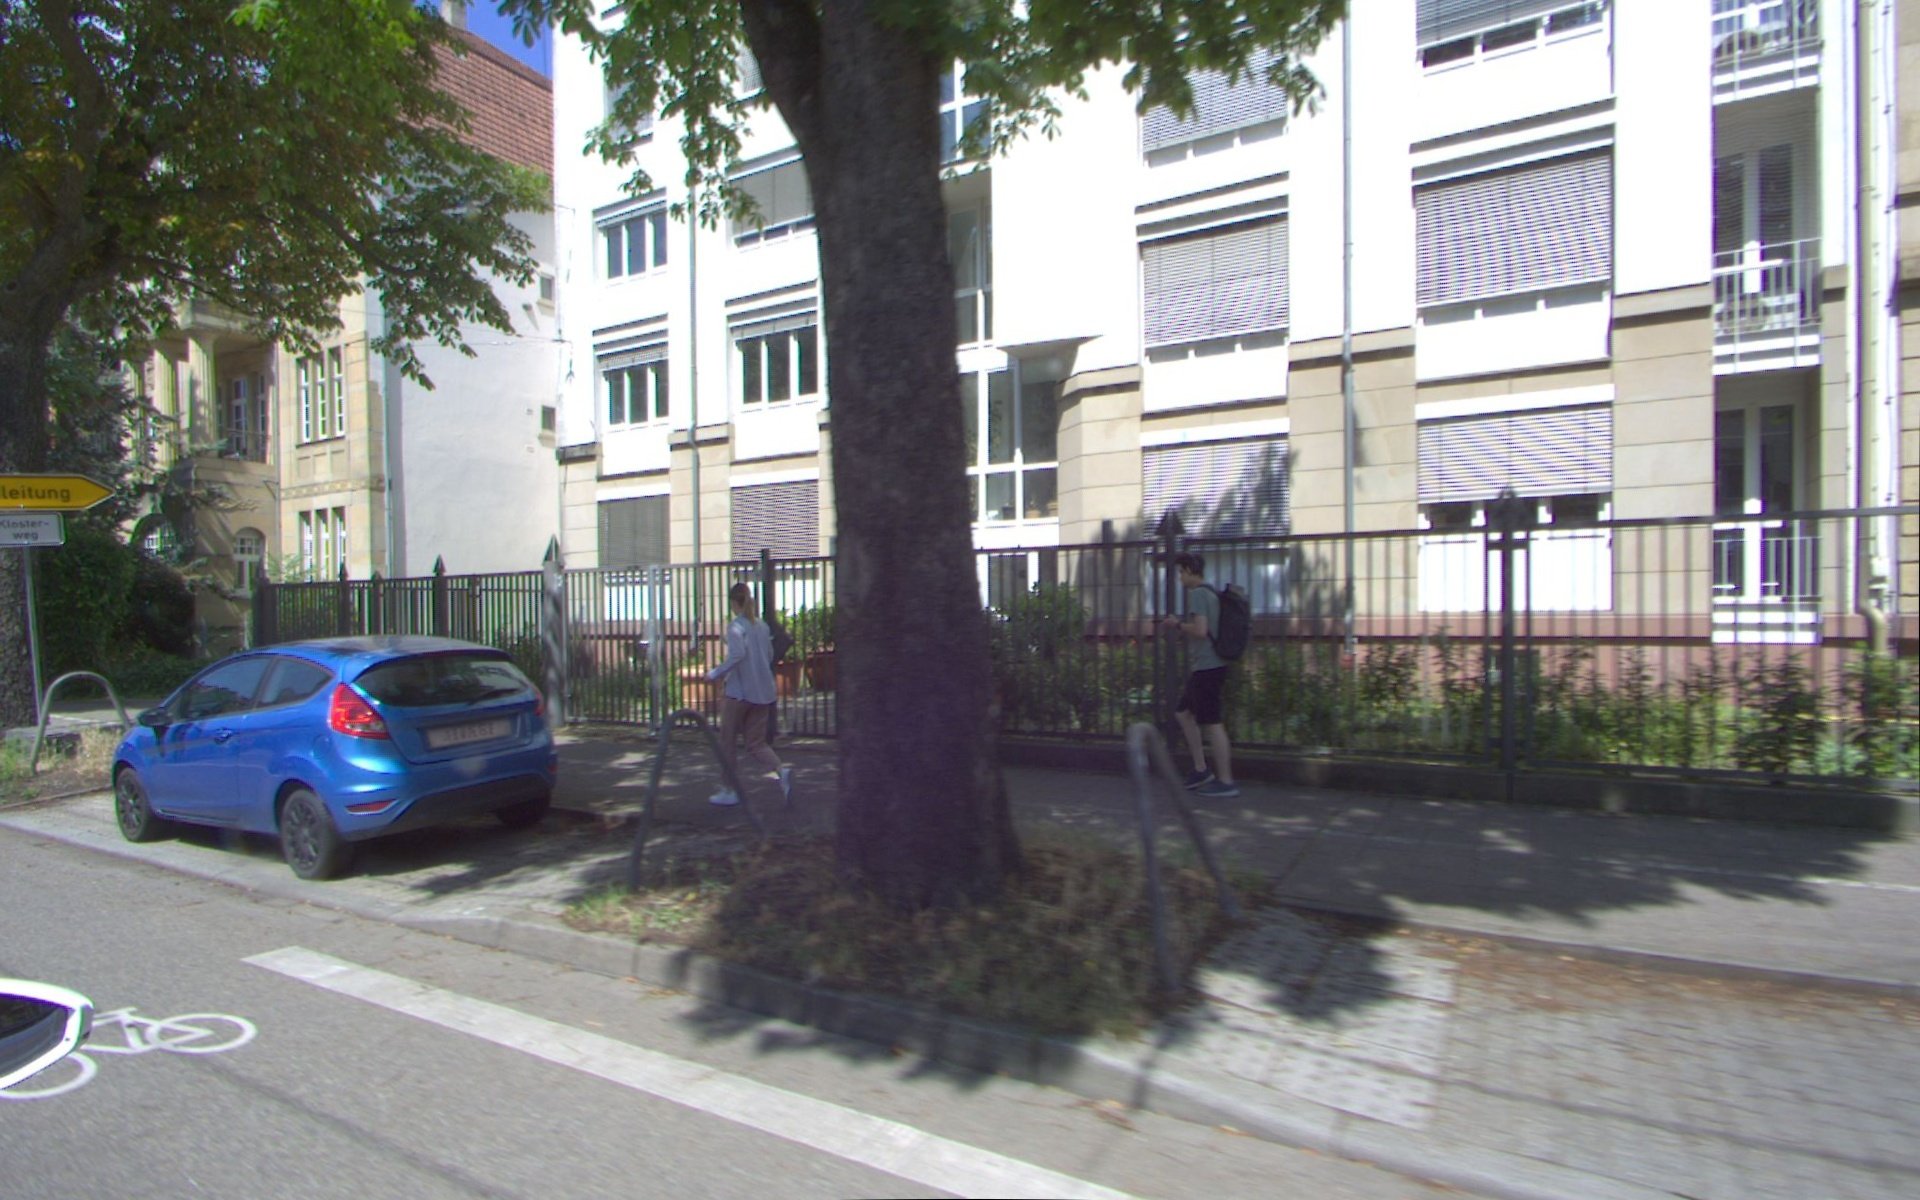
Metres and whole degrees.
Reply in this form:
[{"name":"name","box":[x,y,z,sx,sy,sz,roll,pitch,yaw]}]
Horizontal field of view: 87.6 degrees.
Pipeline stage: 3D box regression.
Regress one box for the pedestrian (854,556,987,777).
[{"name":"pedestrian","box":[-0.344,0.558,8.832,0.962,1.835,0.660,0,0,30]}]

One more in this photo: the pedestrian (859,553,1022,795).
[{"name":"pedestrian","box":[-0.150,0.555,7.977,1.036,1.785,0.786,0,0,30]}]

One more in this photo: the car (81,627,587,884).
[{"name":"car","box":[-4.711,0.952,7.466,3.665,1.462,1.675,-1,0,30]}]

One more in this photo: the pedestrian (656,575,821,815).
[{"name":"pedestrian","box":[-1.668,0.670,7.566,0.960,1.673,0.764,0,0,34]}]

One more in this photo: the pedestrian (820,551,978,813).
[{"name":"pedestrian","box":[-0.447,0.571,7.422,0.934,1.800,0.703,0,0,35]}]

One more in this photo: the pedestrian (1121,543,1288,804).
[{"name":"pedestrian","box":[1.844,0.523,7.549,1.068,1.821,0.683,0,0,30]}]
